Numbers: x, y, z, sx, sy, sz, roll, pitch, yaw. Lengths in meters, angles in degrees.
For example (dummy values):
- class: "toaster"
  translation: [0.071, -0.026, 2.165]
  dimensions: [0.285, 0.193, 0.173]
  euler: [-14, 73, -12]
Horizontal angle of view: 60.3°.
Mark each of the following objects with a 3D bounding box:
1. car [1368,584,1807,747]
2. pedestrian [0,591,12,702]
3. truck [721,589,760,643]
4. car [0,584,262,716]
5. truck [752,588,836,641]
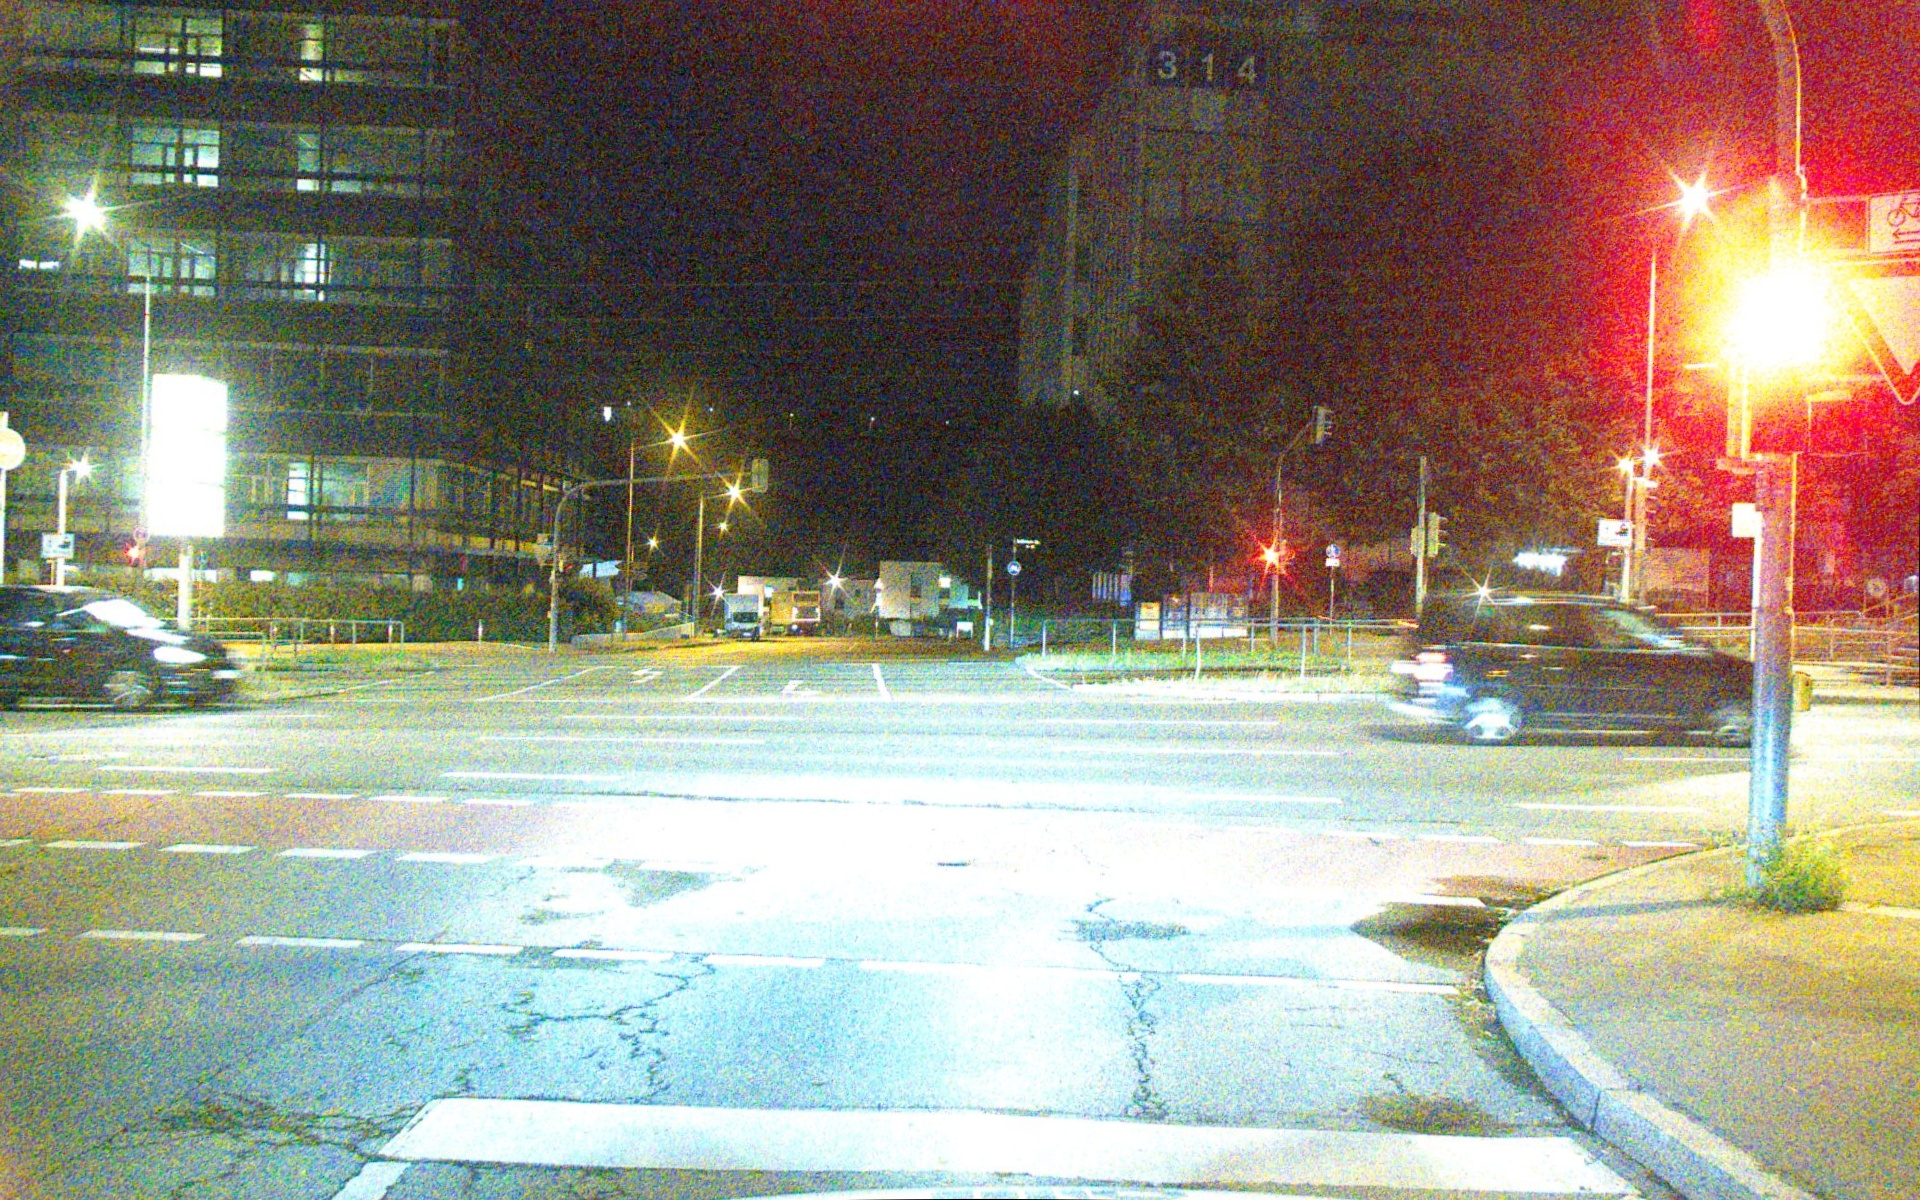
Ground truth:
- class: "car"
  translation: [6.948, 0.693, 18.656]
  dimensions: [4.252, 1.680, 1.811]
  euler: [1, 1, 2]
- class: "pedestrian"
  translation: [-14.676, 0.695, 24.596]
  dimensions: [0.656, 1.663, 0.862]
  euler: [1, -1, -5]
- class: "truck"
  translation: [-15.776, 1.127, 118.848]
  dimensions: [2.535, 3.772, 5.724]
  euler: [1, 0, -9]
- class: "car"
  translation: [-11.982, 0.644, 22.281]
  dimensions: [4.353, 1.688, 1.865]
  euler: [0, 0, 3]
- class: "truck"
  translation: [-15.287, 1.292, 150.978]
  dimensions: [4.751, 4.627, 12.593]
  euler: [1, 0, -19]
